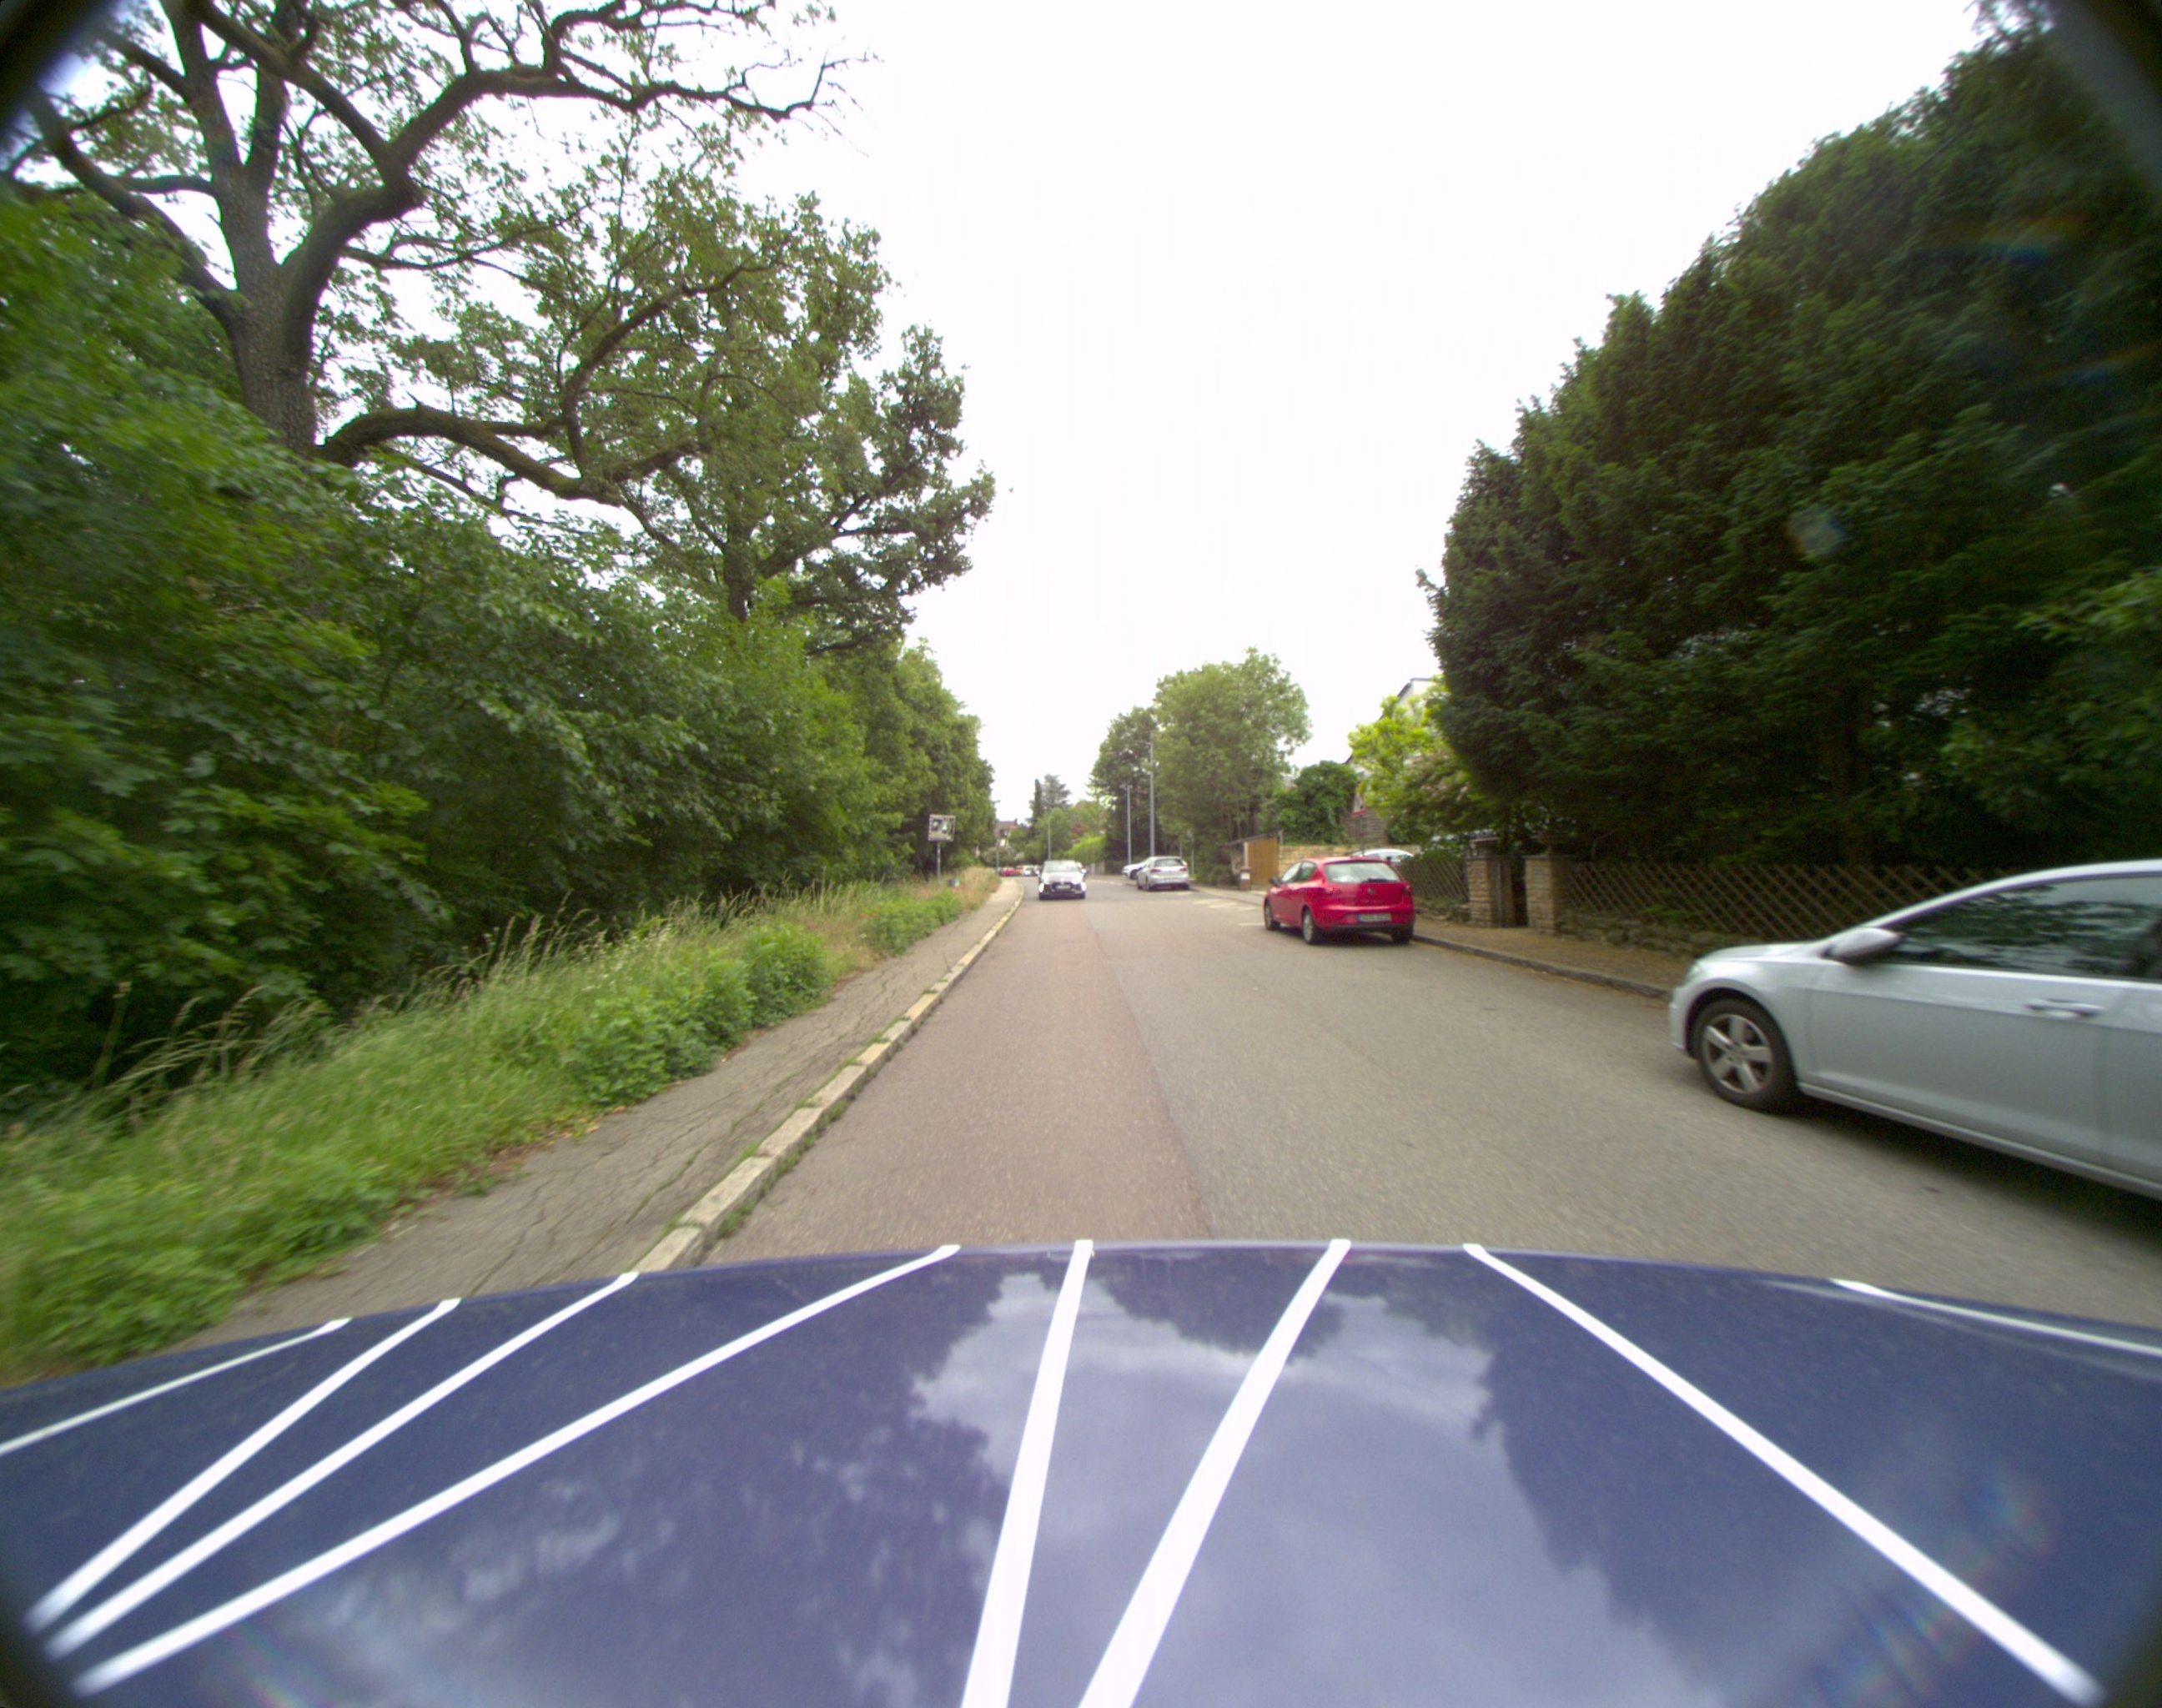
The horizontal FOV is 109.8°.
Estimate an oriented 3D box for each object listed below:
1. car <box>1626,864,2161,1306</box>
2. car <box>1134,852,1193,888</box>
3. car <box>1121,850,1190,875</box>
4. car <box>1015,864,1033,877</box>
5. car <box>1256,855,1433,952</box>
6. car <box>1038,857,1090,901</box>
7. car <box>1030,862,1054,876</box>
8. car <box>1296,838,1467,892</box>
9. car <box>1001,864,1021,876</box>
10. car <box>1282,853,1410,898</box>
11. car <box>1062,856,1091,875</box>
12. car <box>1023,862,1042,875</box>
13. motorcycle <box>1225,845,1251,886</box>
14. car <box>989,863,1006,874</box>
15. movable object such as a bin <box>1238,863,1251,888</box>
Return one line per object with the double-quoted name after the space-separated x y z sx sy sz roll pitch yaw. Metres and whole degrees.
4.557 0.802 2.908 1.788 1.431 4.323 -2 0 -1 "car"
3.489 0.657 32.854 1.765 1.441 4.042 -2 0 -4 "car"
5.343 0.616 54.712 4.708 1.678 2.000 -2 0 -2 "car"
-8.192 2.360 108.669 1.801 1.678 3.495 -2 0 -16 "car"
4.421 0.755 13.387 1.741 1.431 3.787 -2 0 -1 "car"
-0.586 0.910 29.236 1.788 1.491 4.015 -2 0 1 "car"
-4.997 1.926 96.904 2.001 1.678 4.704 -2 0 -16 "car"
9.467 0.353 24.208 4.617 1.378 1.891 -4 -1 1 "car"
-10.799 2.414 116.736 2.001 1.678 4.703 -2 0 -17 "car"
9.631 0.772 27.785 3.965 1.378 1.822 3 -1 -3 "car"
-0.468 1.072 70.579 2.000 1.678 4.707 -2 0 -8 "car"
-6.677 2.010 104.609 1.801 1.678 3.495 -2 0 -16 "car"
6.318 0.444 30.695 0.484 1.573 1.912 -2 0 -5 "motorcycle"
-13.936 2.446 126.425 2.001 1.678 4.704 -2 0 -16 "car"
6.285 0.824 29.188 0.367 0.919 0.556 2 1 3 "movable object such as a bin"
